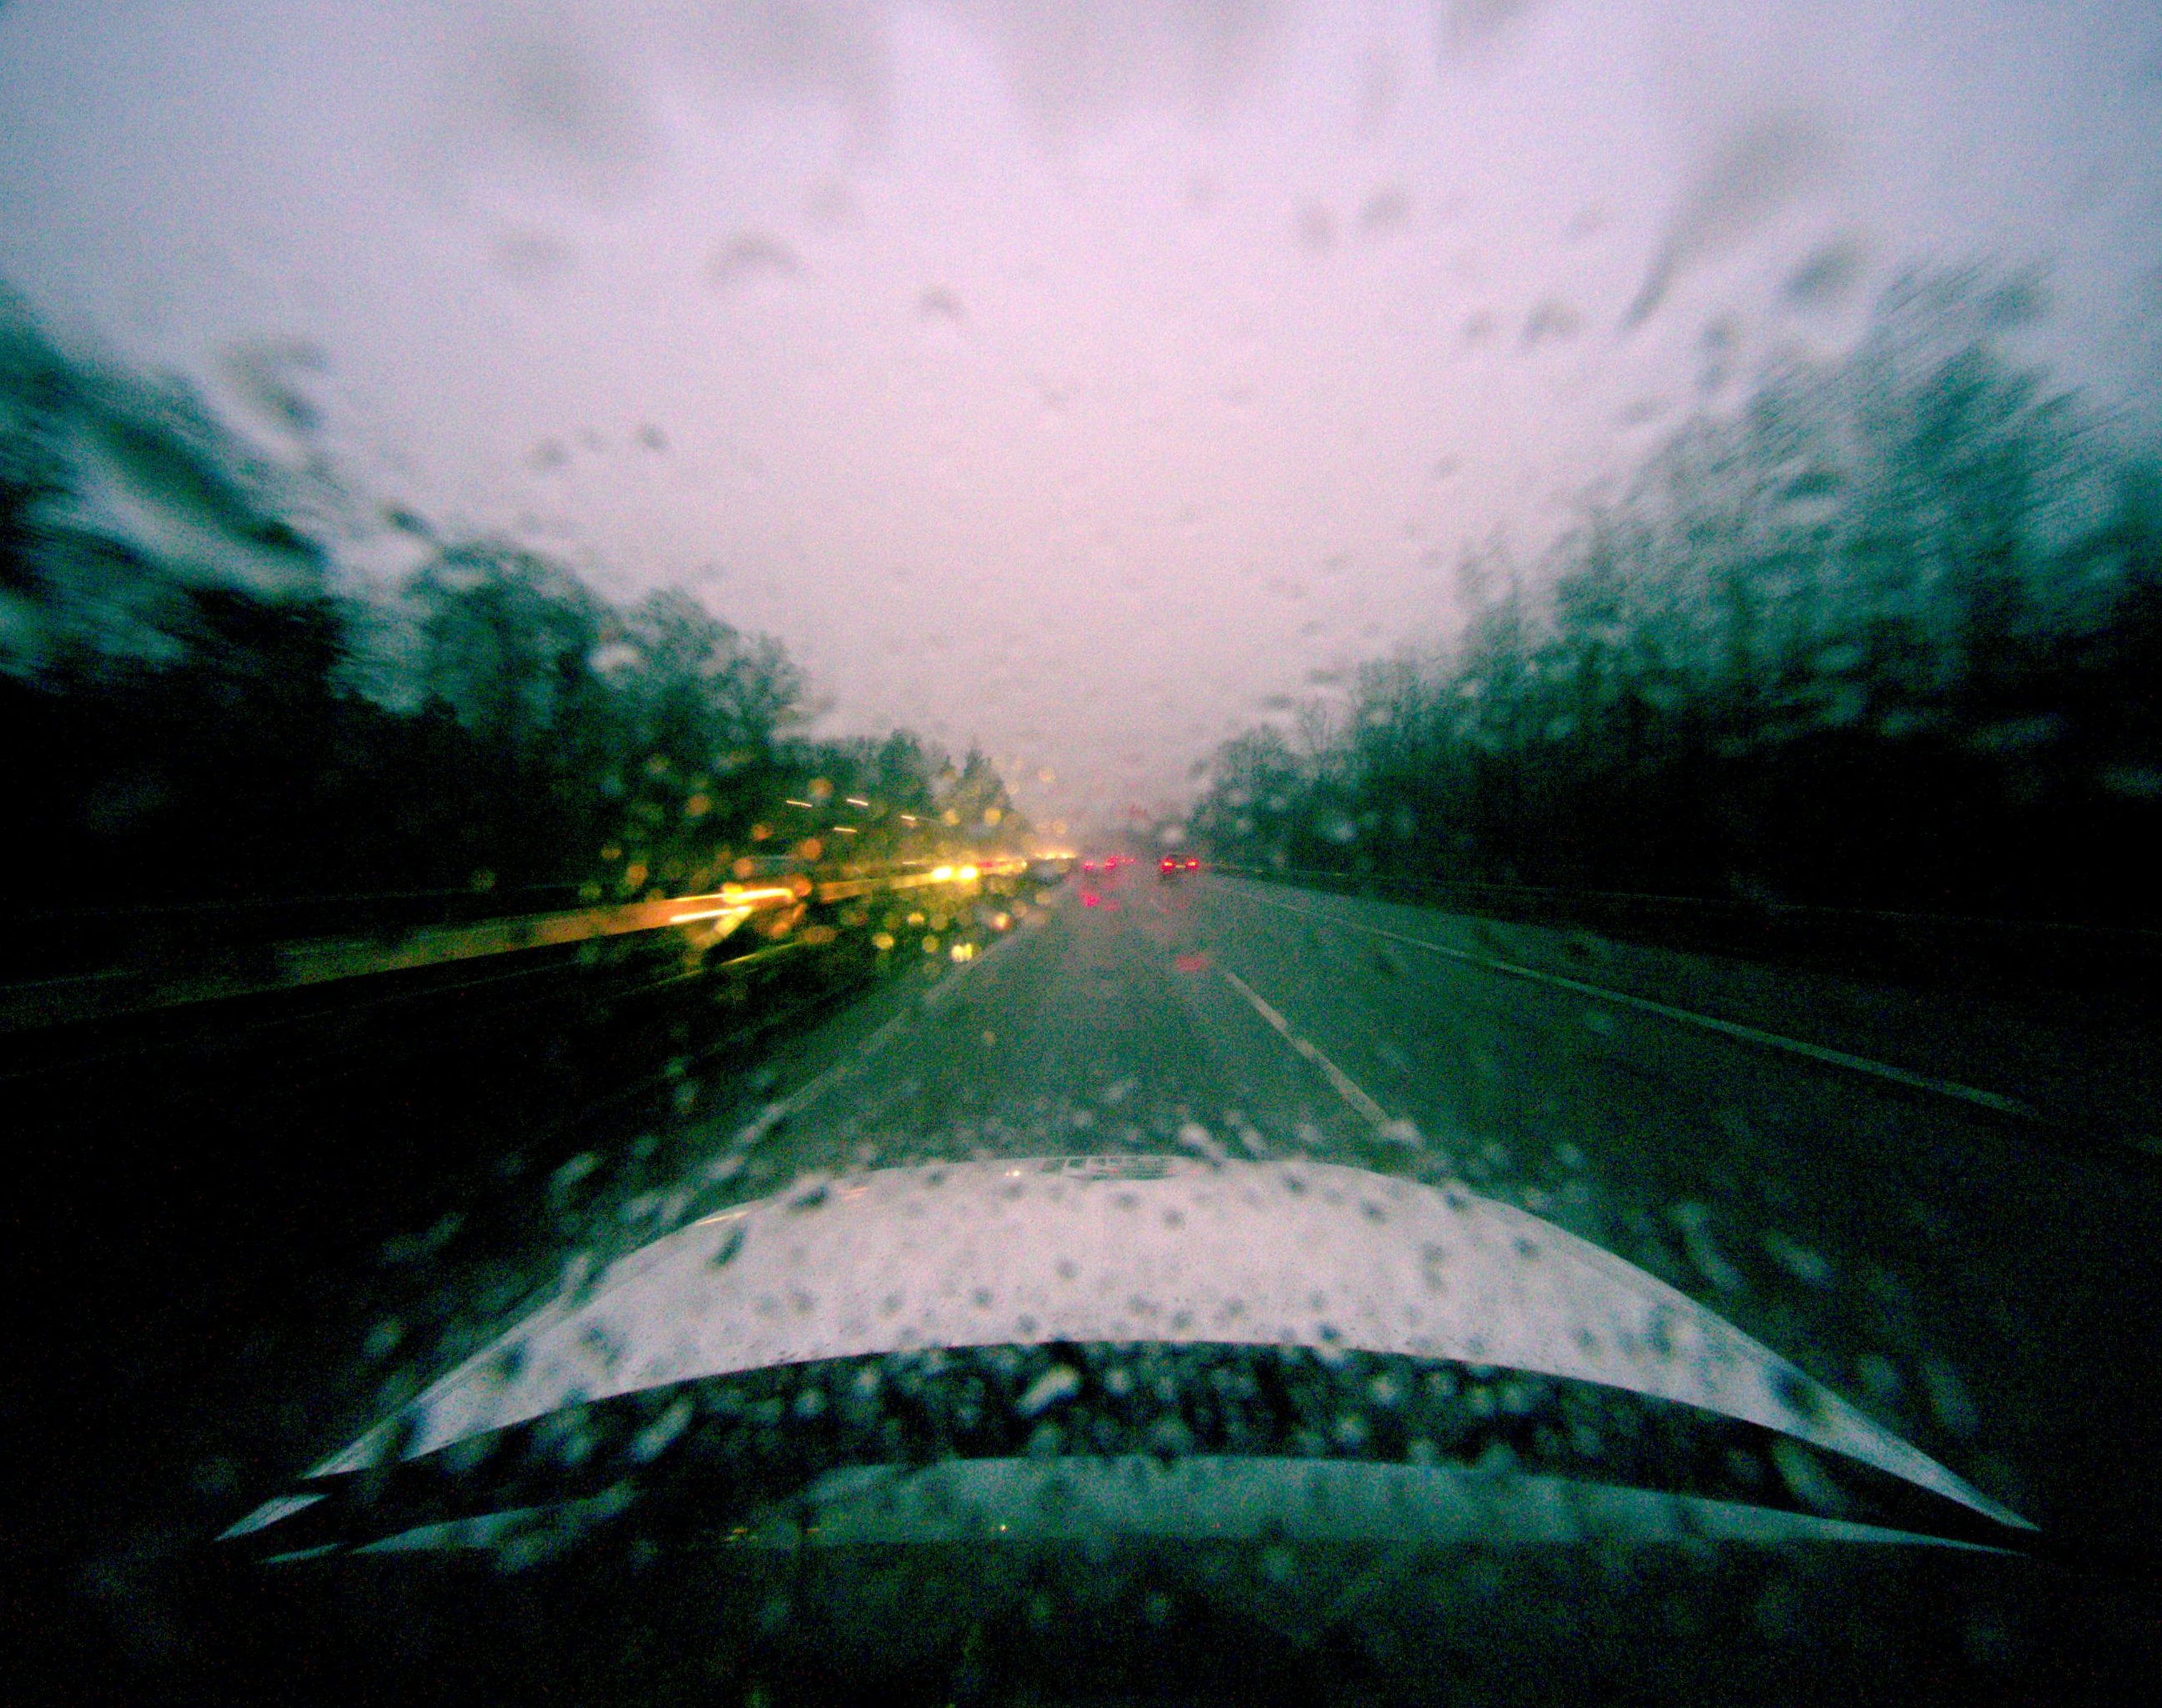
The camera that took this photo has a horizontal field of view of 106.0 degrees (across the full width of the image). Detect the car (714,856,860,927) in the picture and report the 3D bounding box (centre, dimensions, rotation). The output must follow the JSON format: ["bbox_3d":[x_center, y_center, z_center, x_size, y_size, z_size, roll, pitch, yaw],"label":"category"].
[{"bbox_3d":[-6.968,0.829,19.822,1.791,1.535,4.273,0,0,3],"label":"car"}]

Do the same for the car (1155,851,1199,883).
[{"bbox_3d":[5.377,0.720,46.017,2.063,1.698,4.462,0,0,1],"label":"car"}]

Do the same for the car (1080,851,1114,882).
[{"bbox_3d":[0.955,0.725,49.537,1.979,1.767,4.173,-1,0,1],"label":"car"}]

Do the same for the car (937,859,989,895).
[{"bbox_3d":[-6.256,1.193,43.538,1.986,1.750,4.002,2,0,2],"label":"car"}]

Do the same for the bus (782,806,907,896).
[{"bbox_3d":[-10.307,-0.100,36.690,2.716,3.555,9.091,0,0,2],"label":"bus"}]

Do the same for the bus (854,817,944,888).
[{"bbox_3d":[-10.025,-0.056,45.885,2.728,3.555,9.158,0,0,2],"label":"bus"}]
